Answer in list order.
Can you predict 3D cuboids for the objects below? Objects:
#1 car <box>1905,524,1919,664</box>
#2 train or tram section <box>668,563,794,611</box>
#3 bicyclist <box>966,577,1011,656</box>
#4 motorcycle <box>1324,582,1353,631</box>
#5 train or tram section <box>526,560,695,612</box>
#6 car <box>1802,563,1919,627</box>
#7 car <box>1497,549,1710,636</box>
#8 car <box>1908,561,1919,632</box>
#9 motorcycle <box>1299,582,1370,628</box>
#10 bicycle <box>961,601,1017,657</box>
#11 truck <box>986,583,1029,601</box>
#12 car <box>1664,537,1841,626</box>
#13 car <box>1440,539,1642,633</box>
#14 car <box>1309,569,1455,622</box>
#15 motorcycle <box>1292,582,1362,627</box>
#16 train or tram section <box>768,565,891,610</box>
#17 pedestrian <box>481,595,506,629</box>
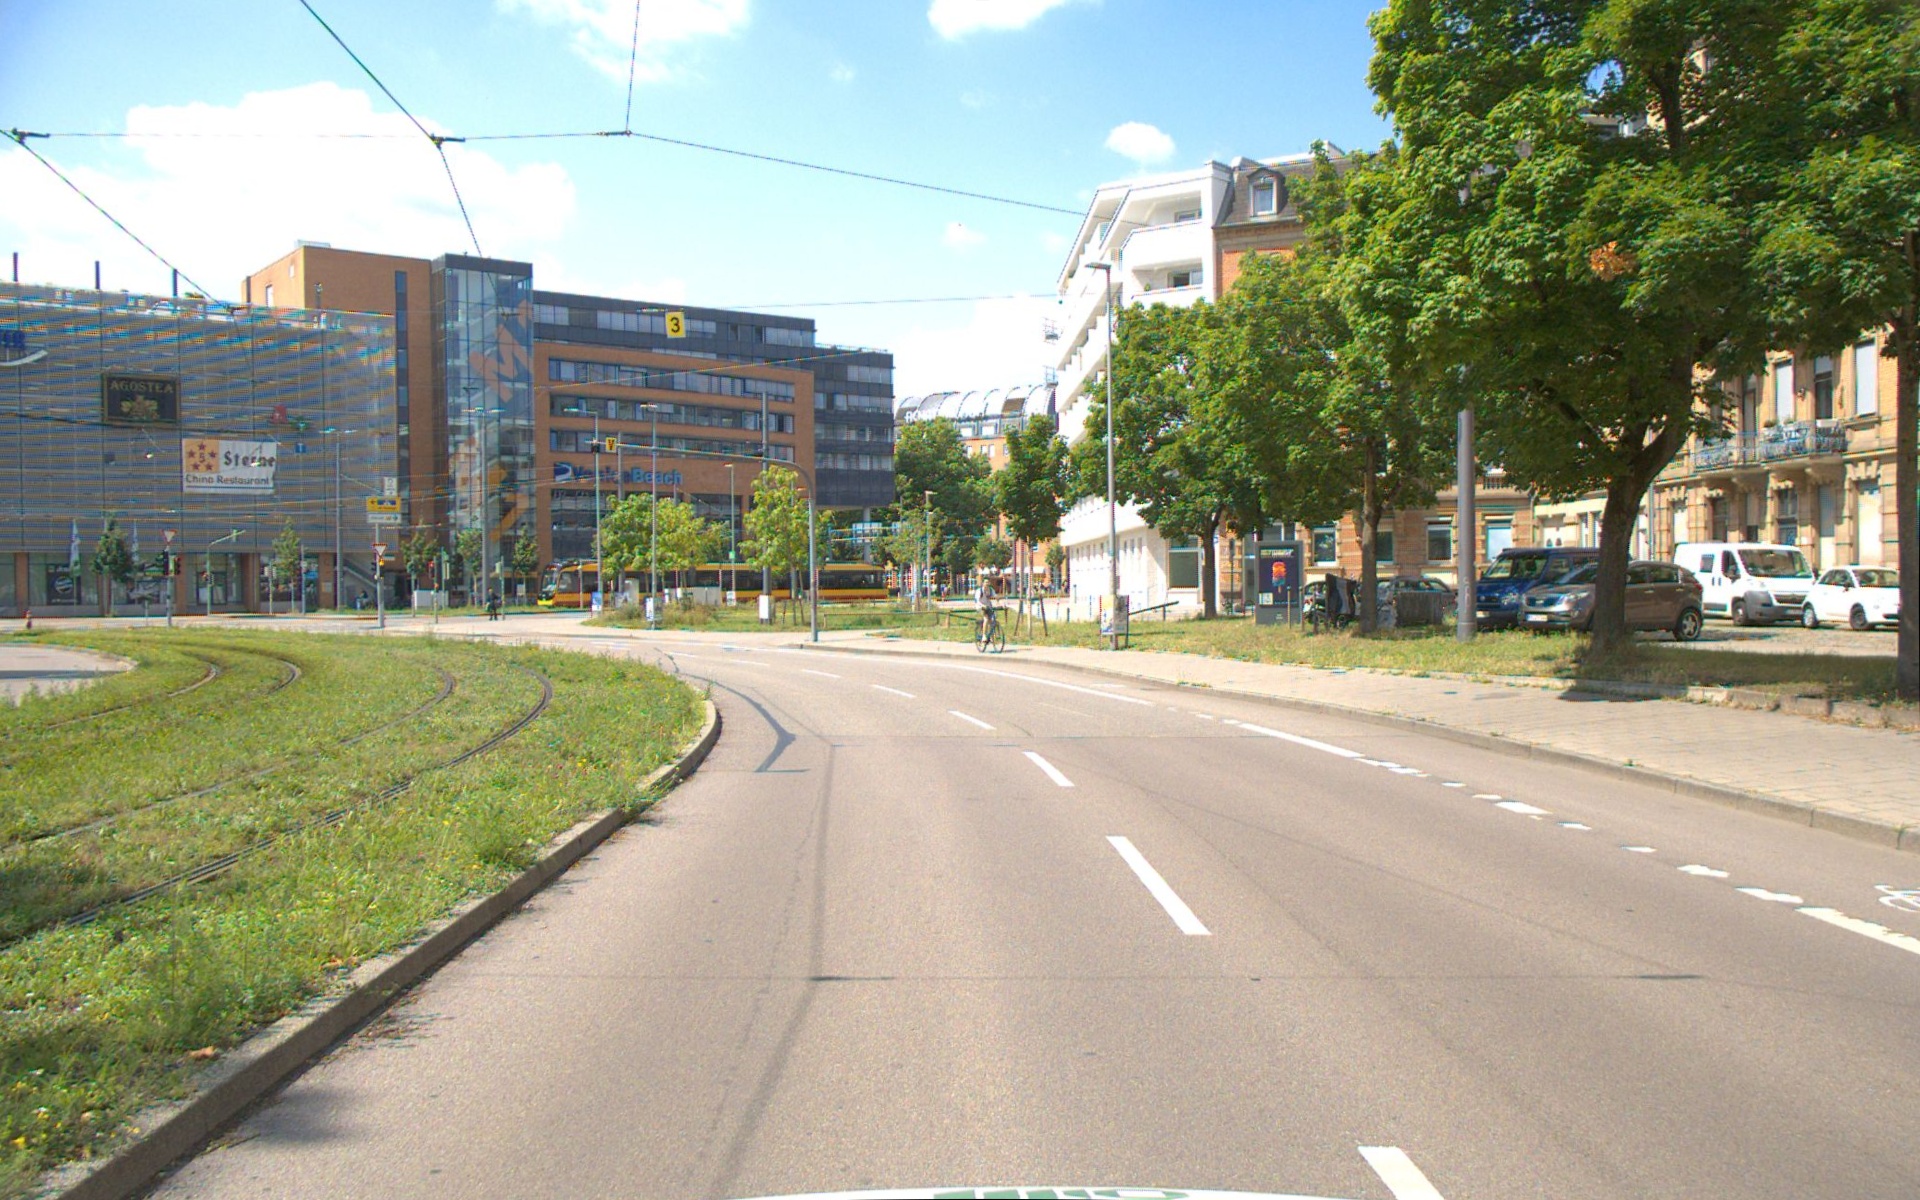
[{"bbox_3d":[14.228,-0.078,21.372,4.097,1.771,1.832,0,0,-33],"label":"car"},{"bbox_3d":[-18.292,-1.019,133.001,3.008,3.666,10.937,0,0,39],"label":"train or tram section"},{"bbox_3d":[0.683,0.394,40.122,0.684,1.856,0.950,-4,1,-21],"label":"bicyclist"},{"bbox_3d":[9.576,0.146,41.883,0.624,1.187,1.908,-1,0,10],"label":"motorcycle"},{"bbox_3d":[-25.882,-0.992,123.491,3.165,3.662,13.436,0,0,38],"label":"train or tram section"},{"bbox_3d":[21.327,-0.133,38.756,1.531,1.427,3.351,-1,0,1],"label":"car"},{"bbox_3d":[13.205,-0.157,33.918,4.114,1.685,1.899,0,0,-29],"label":"car"},{"bbox_3d":[21.485,-0.077,34.081,1.625,1.518,3.852,0,0,-1],"label":"car"},{"bbox_3d":[10.087,0.125,44.553,1.747,1.187,0.639,-1,0,-3],"label":"motorcycle"},{"bbox_3d":[0.696,0.694,40.129,0.684,1.264,1.828,-4,2,-20],"label":"bicycle"},{"bbox_3d":[5.696,-0.988,198.334,1.984,2.122,5.434,0,0,-43],"label":"truck"},{"bbox_3d":[20.979,-0.477,44.081,2.068,2.217,5.392,0,0,-1],"label":"car"},{"bbox_3d":[12.993,-0.302,36.901,4.571,1.961,1.895,0,0,-33],"label":"car"},{"bbox_3d":[12.534,-0.143,49.042,4.203,1.452,1.786,-2,1,-32],"label":"car"},{"bbox_3d":[10.052,0.114,45.366,1.747,1.187,0.639,-1,0,-3],"label":"motorcycle"},{"bbox_3d":[-11.074,-1.026,142.216,3.005,3.684,12.580,0,0,37],"label":"train or tram section"},{"bbox_3d":[-24.885,0.642,88.193,0.897,1.732,0.808,-2,1,23],"label":"pedestrian"}]
